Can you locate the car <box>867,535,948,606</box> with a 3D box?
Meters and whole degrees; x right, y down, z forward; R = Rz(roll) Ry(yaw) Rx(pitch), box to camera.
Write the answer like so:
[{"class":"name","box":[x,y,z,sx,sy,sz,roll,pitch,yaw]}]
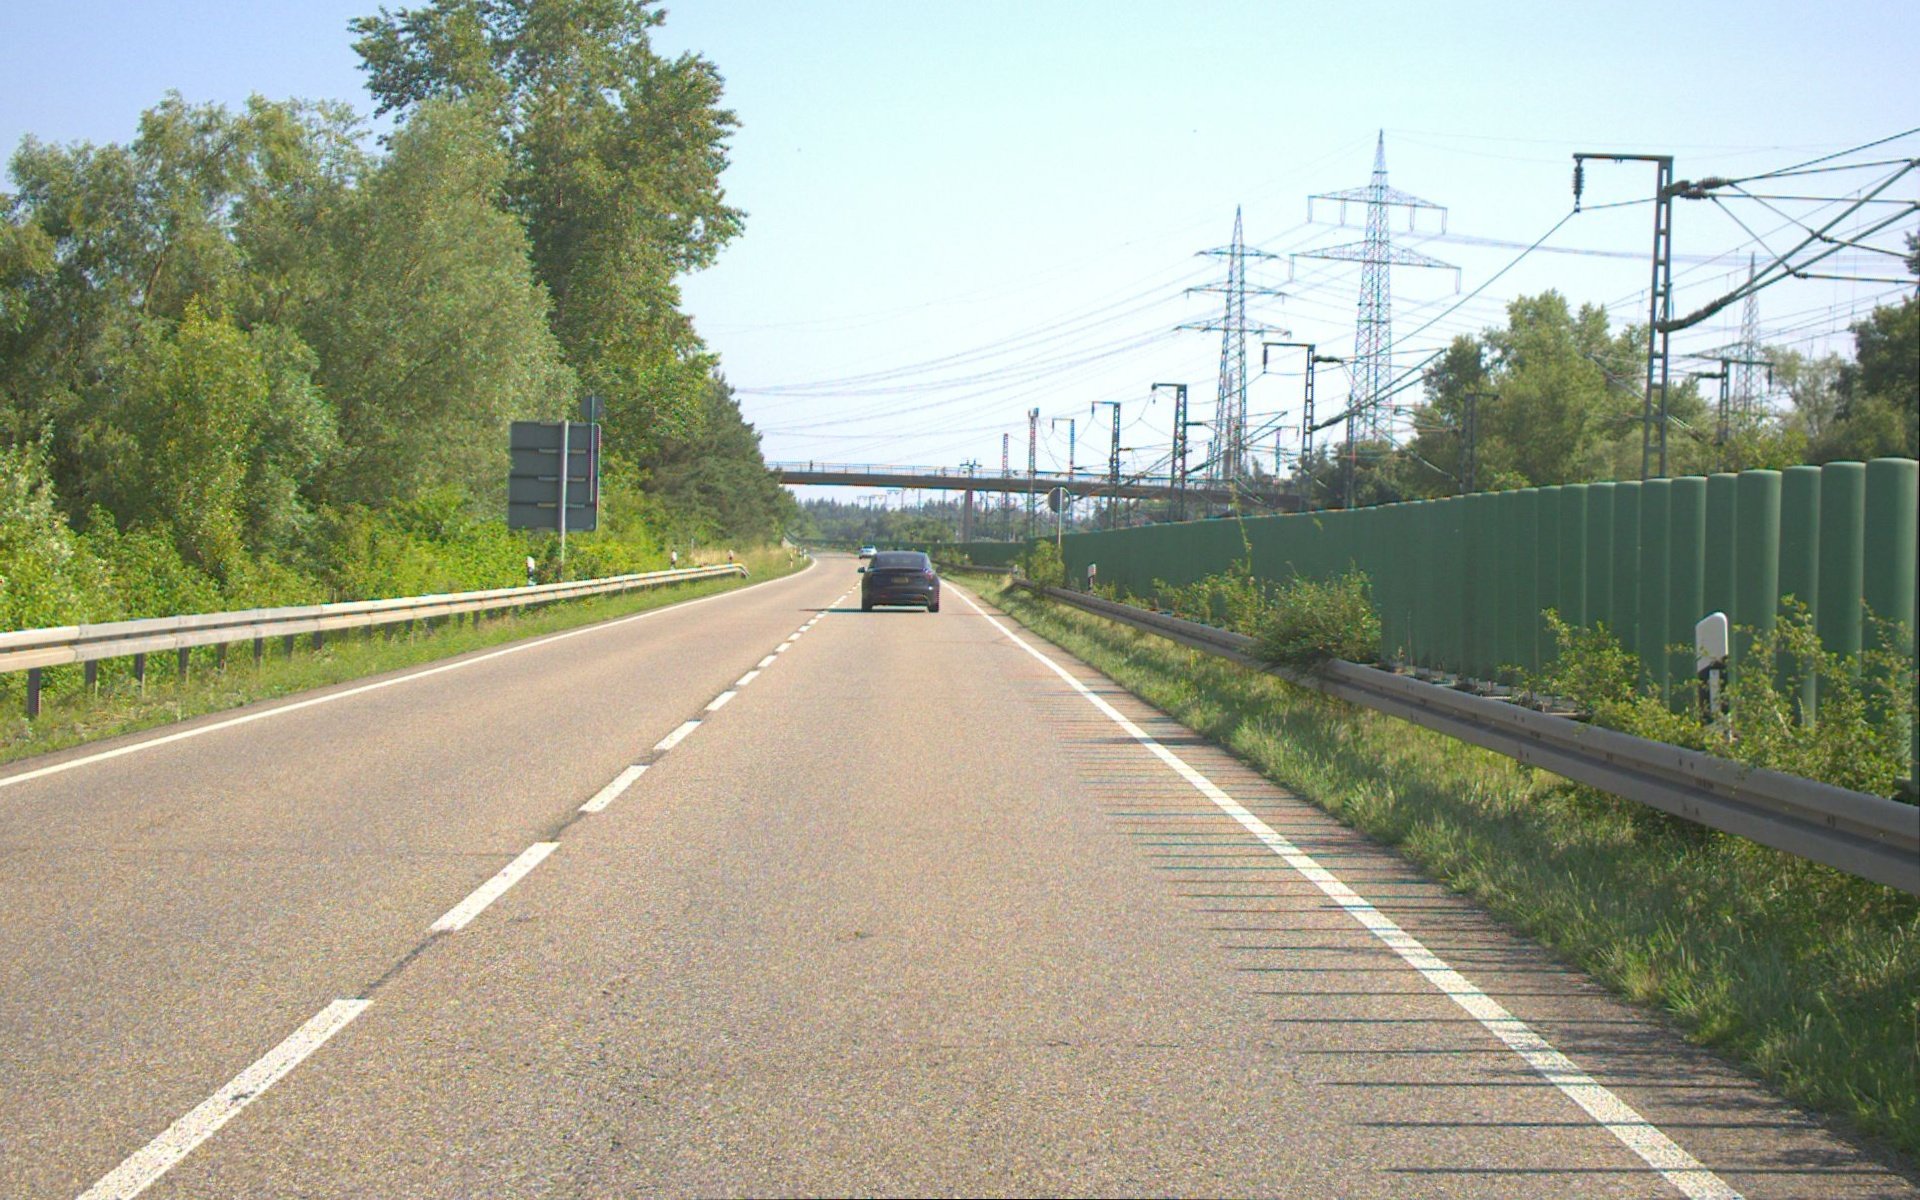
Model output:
[{"class":"car","box":[-1.271,-0.726,82.173,1.858,1.636,4.000,1,1,-2]}]
